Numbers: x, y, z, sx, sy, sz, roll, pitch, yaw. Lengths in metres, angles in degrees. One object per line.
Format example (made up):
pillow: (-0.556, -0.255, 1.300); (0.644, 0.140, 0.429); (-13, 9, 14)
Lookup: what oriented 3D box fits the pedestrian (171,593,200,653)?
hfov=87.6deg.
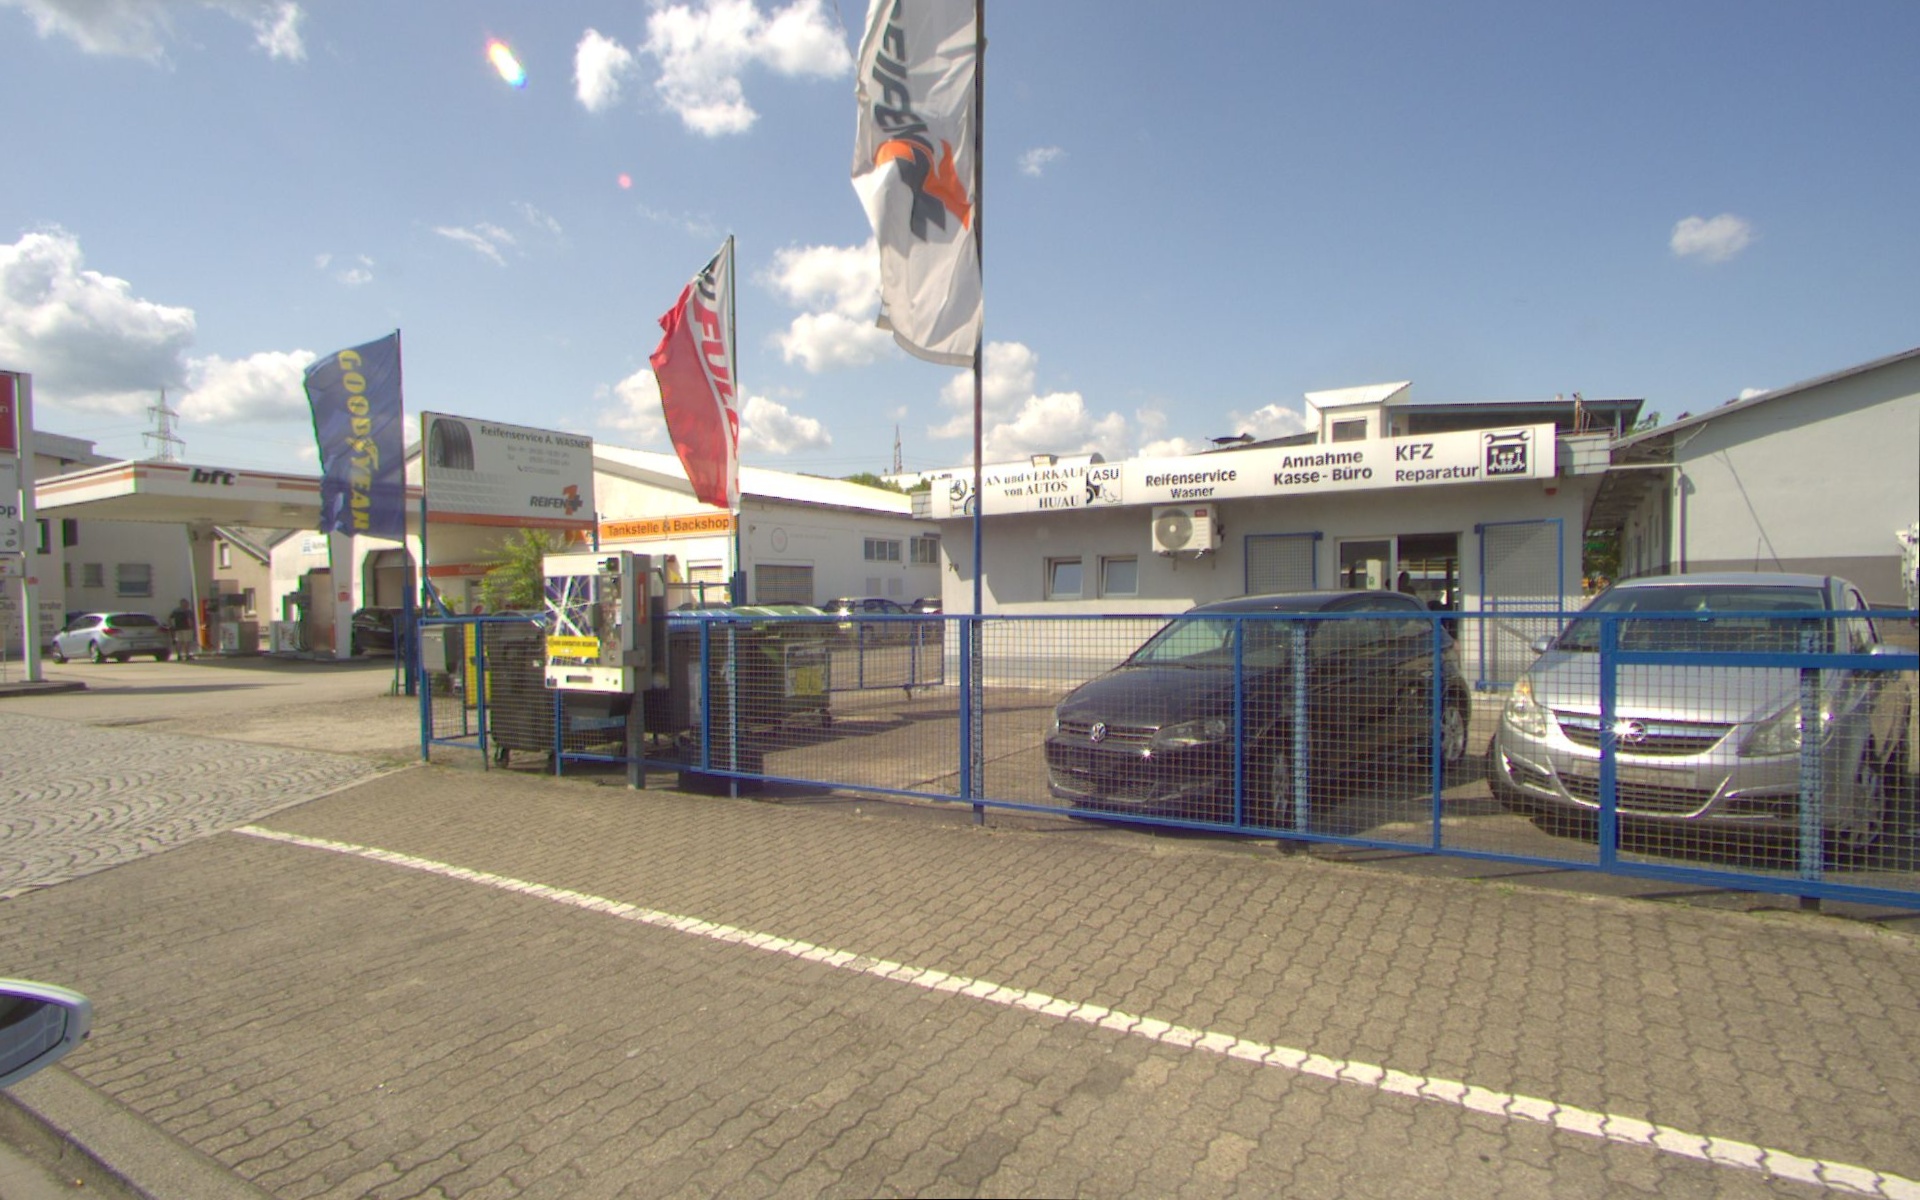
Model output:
pedestrian: (-23.495, 0.698, 30.384); (0.569, 1.799, 0.496); (-1, -1, 30)

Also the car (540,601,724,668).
car: (-7.962, 0.797, 24.664); (1.747, 1.443, 4.124); (-1, 0, 33)

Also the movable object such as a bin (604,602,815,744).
movable object such as a bin: (-2.785, 0.777, 11.210); (1.740, 1.428, 1.530); (-1, -2, 31)

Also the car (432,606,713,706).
car: (-6.195, 0.851, 16.397); (1.627, 1.426, 4.037); (-1, -1, 39)

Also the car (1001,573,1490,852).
car: (2.260, 0.602, 7.332); (3.867, 1.482, 1.611); (-2, 0, -42)

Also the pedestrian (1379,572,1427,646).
pedestrian: (8.127, 0.176, 18.376); (0.690, 1.318, 0.632); (-1, -2, 34)

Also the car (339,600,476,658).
car: (-16.594, 0.818, 30.017); (4.427, 1.540, 1.679); (1, 1, 32)

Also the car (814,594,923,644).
car: (-2.827, 0.570, 31.587); (1.507, 1.443, 3.574); (-1, 0, 33)

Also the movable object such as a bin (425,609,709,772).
movable object such as a bin: (-3.740, 0.805, 9.679); (1.684, 1.364, 1.960); (-1, -2, 31)

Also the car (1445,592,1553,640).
car: (20.633, 0.609, 38.374); (3.545, 1.764, 1.534); (0, -1, 31)

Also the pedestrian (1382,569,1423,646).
pedestrian: (7.714, 0.143, 17.450); (0.625, 1.318, 0.698); (-1, -1, 26)

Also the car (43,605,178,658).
car: (-25.679, 0.948, 30.248); (4.357, 1.490, 1.689); (-1, 1, 30)

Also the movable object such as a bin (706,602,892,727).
movable object such as a bin: (-2.004, 0.781, 12.566); (1.740, 1.428, 1.530); (-1, -2, 31)

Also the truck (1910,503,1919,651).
truck: (21.712, -0.512, 18.979); (5.014, 3.050, 2.148); (-1, 2, 31)

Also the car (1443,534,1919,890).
car: (4.896, 0.553, 6.391); (4.219, 1.524, 1.811); (2, -2, -42)
